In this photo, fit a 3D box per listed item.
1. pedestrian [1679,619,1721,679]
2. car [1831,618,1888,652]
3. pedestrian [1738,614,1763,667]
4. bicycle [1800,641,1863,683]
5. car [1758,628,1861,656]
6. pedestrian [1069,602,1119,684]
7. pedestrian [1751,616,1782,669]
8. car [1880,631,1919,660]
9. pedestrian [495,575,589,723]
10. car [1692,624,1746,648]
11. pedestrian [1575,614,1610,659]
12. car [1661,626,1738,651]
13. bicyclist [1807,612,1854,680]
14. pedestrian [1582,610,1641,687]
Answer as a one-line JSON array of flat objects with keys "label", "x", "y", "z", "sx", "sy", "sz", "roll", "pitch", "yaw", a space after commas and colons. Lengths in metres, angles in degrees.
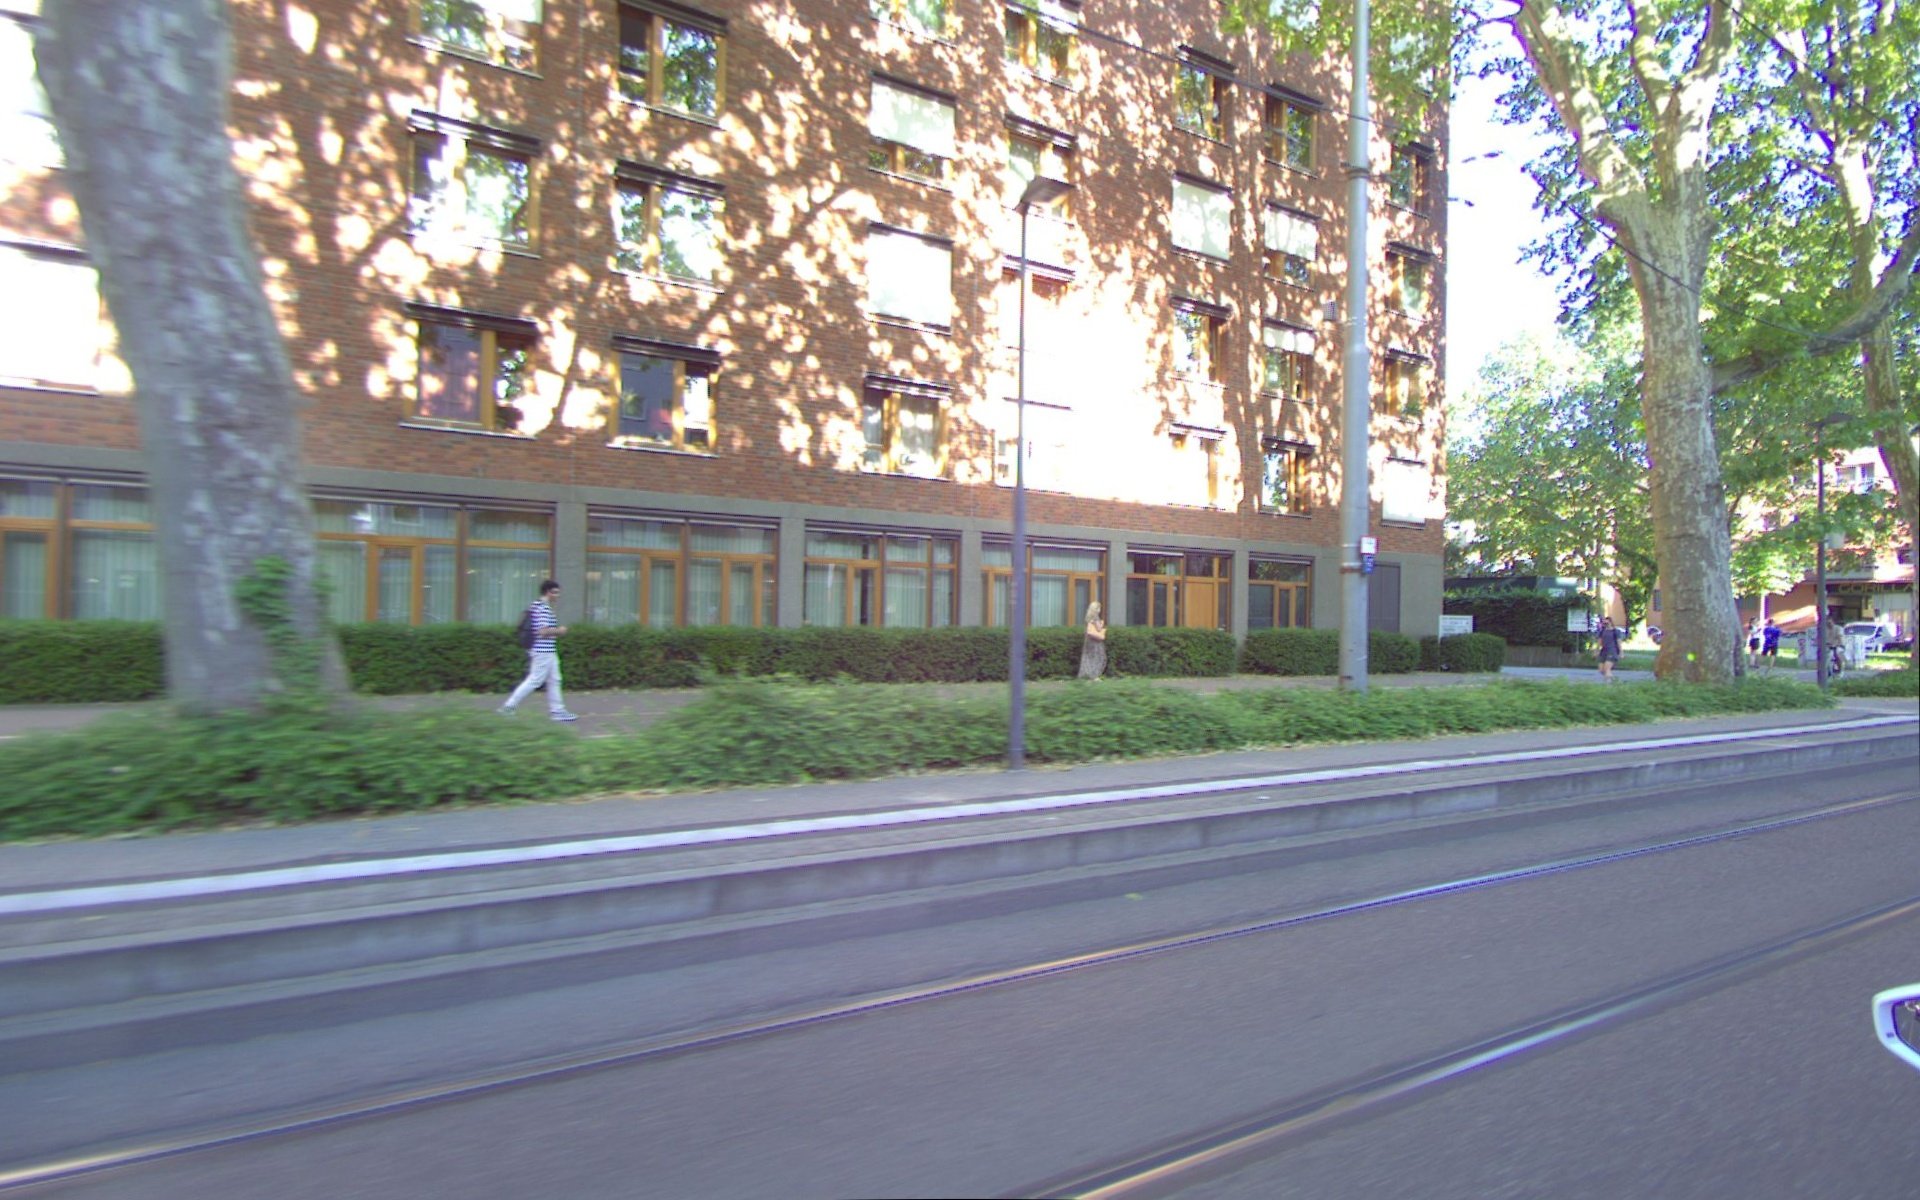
[{"label": "pedestrian", "x": 21.384, "y": 1.404, "z": 29.028, "sx": 0.770, "sy": 1.695, "sz": 0.706, "roll": 2, "pitch": 0, "yaw": -30}, {"label": "car", "x": 57.143, "y": 2.215, "z": 63.791, "sx": 4.879, "sy": 2.030, "sz": 1.977, "roll": 2, "pitch": 0, "yaw": -40}, {"label": "pedestrian", "x": 26.764, "y": 1.362, "z": 34.006, "sx": 0.523, "sy": 1.728, "sz": 0.591, "roll": 2, "pitch": 0, "yaw": 29}, {"label": "bicycle", "x": 23.961, "y": 1.693, "z": 27.617, "sx": 1.817, "sy": 1.078, "sz": 0.712, "roll": 2, "pitch": 0, "yaw": -29}, {"label": "car", "x": 50.704, "y": 2.498, "z": 60.036, "sx": 1.807, "sy": 1.469, "sz": 4.434, "roll": 2, "pitch": 0, "yaw": -37}, {"label": "pedestrian", "x": 2.676, "y": 0.857, "z": 20.058, "sx": 0.707, "sy": 1.594, "sz": 0.661, "roll": 2, "pitch": 0, "yaw": -30}, {"label": "pedestrian", "x": 26.410, "y": 1.382, "z": 32.900, "sx": 0.685, "sy": 1.681, "sz": 0.561, "roll": 2, "pitch": 0, "yaw": 34}, {"label": "car", "x": 54.112, "y": 2.566, "z": 55.534, "sx": 1.842, "sy": 1.509, "sz": 4.497, "roll": 2, "pitch": 0, "yaw": -35}, {"label": "pedestrian", "x": -5.230, "y": 0.599, "z": 12.555, "sx": 0.961, "sy": 1.767, "sz": 0.760, "roll": 2, "pitch": 0, "yaw": -30}, {"label": "car", "x": 53.822, "y": 2.550, "z": 71.234, "sx": 4.443, "sy": 1.639, "sz": 1.930, "roll": 2, "pitch": 0, "yaw": -38}, {"label": "pedestrian", "x": 25.474, "y": 1.442, "z": 40.474, "sx": 0.897, "sy": 1.760, "sz": 0.846, "roll": 2, "pitch": 0, "yaw": 6}, {"label": "car", "x": 47.646, "y": 2.459, "z": 64.786, "sx": 1.672, "sy": 1.469, "sz": 3.683, "roll": 2, "pitch": 0, "yaw": -35}, {"label": "bicyclist", "x": 23.876, "y": 1.245, "z": 27.546, "sx": 0.828, "sy": 1.811, "sz": 0.697, "roll": 2, "pitch": 0, "yaw": -29}, {"label": "pedestrian", "x": 14.956, "y": 1.100, "z": 23.053, "sx": 0.957, "sy": 1.694, "sz": 0.735, "roll": 2, "pitch": 0, "yaw": -29}]
